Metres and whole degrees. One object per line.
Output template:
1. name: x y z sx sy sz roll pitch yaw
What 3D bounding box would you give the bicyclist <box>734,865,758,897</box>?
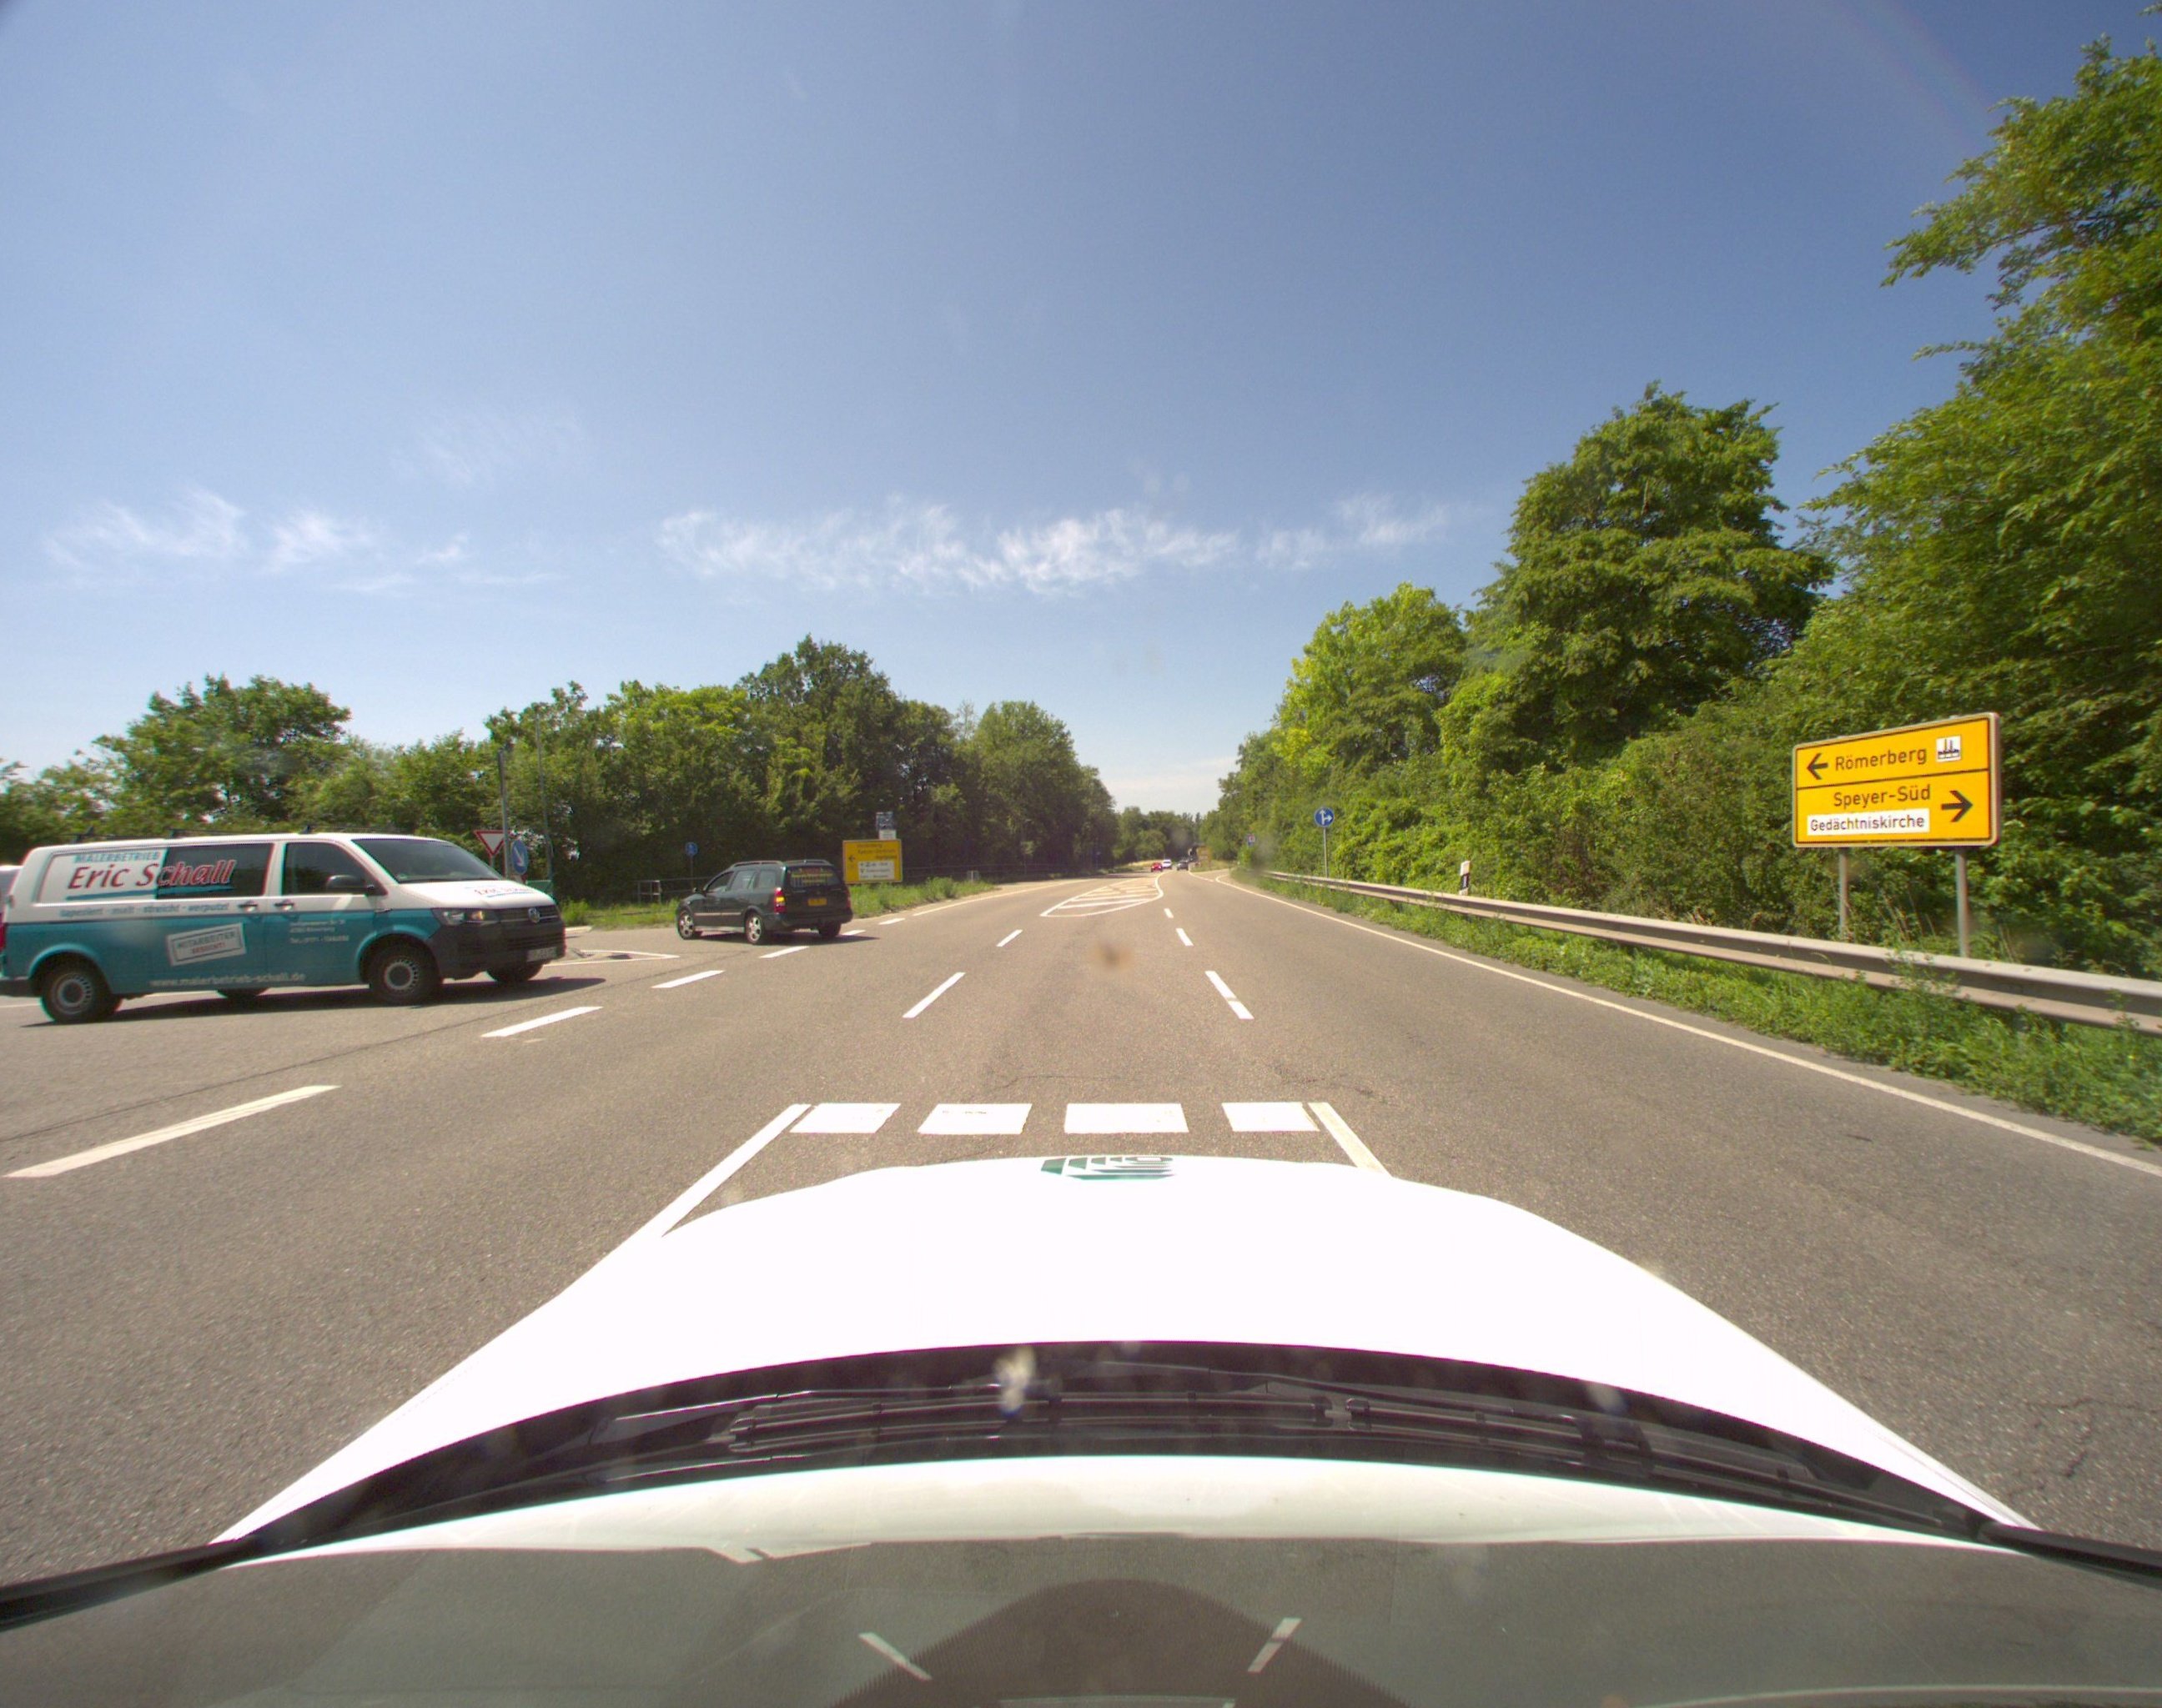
1. bicyclist: -14.386 1.158 35.013 0.601 1.363 0.694 -2 0 25

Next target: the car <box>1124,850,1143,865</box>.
1. car: 11.503 0.715 179.799 2.004 3.226 4.767 -1 0 -26

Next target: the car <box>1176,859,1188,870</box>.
1. car: 16.500 1.763 133.368 1.834 1.684 4.007 -1 0 6

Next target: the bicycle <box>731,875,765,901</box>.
1. bicycle: -14.347 1.460 35.093 1.463 1.113 0.439 -1 0 25

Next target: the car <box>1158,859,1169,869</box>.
1. car: 15.728 1.856 154.325 1.983 1.730 4.281 -2 0 6

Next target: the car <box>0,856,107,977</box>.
1. car: -28.468 1.701 19.533 6.027 2.849 2.093 -5 1 -28

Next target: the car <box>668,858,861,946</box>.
1. car: -6.128 0.860 15.641 3.748 1.457 1.737 -2 0 37

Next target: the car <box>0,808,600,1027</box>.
1. car: -8.899 0.668 9.582 5.154 2.027 2.000 -3 0 0

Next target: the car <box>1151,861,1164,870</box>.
1. car: 11.774 1.768 125.521 1.800 1.458 3.765 -1 0 7

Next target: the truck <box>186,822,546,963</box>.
1. truck: -15.959 0.851 18.345 6.581 2.565 2.150 -4 -1 7
